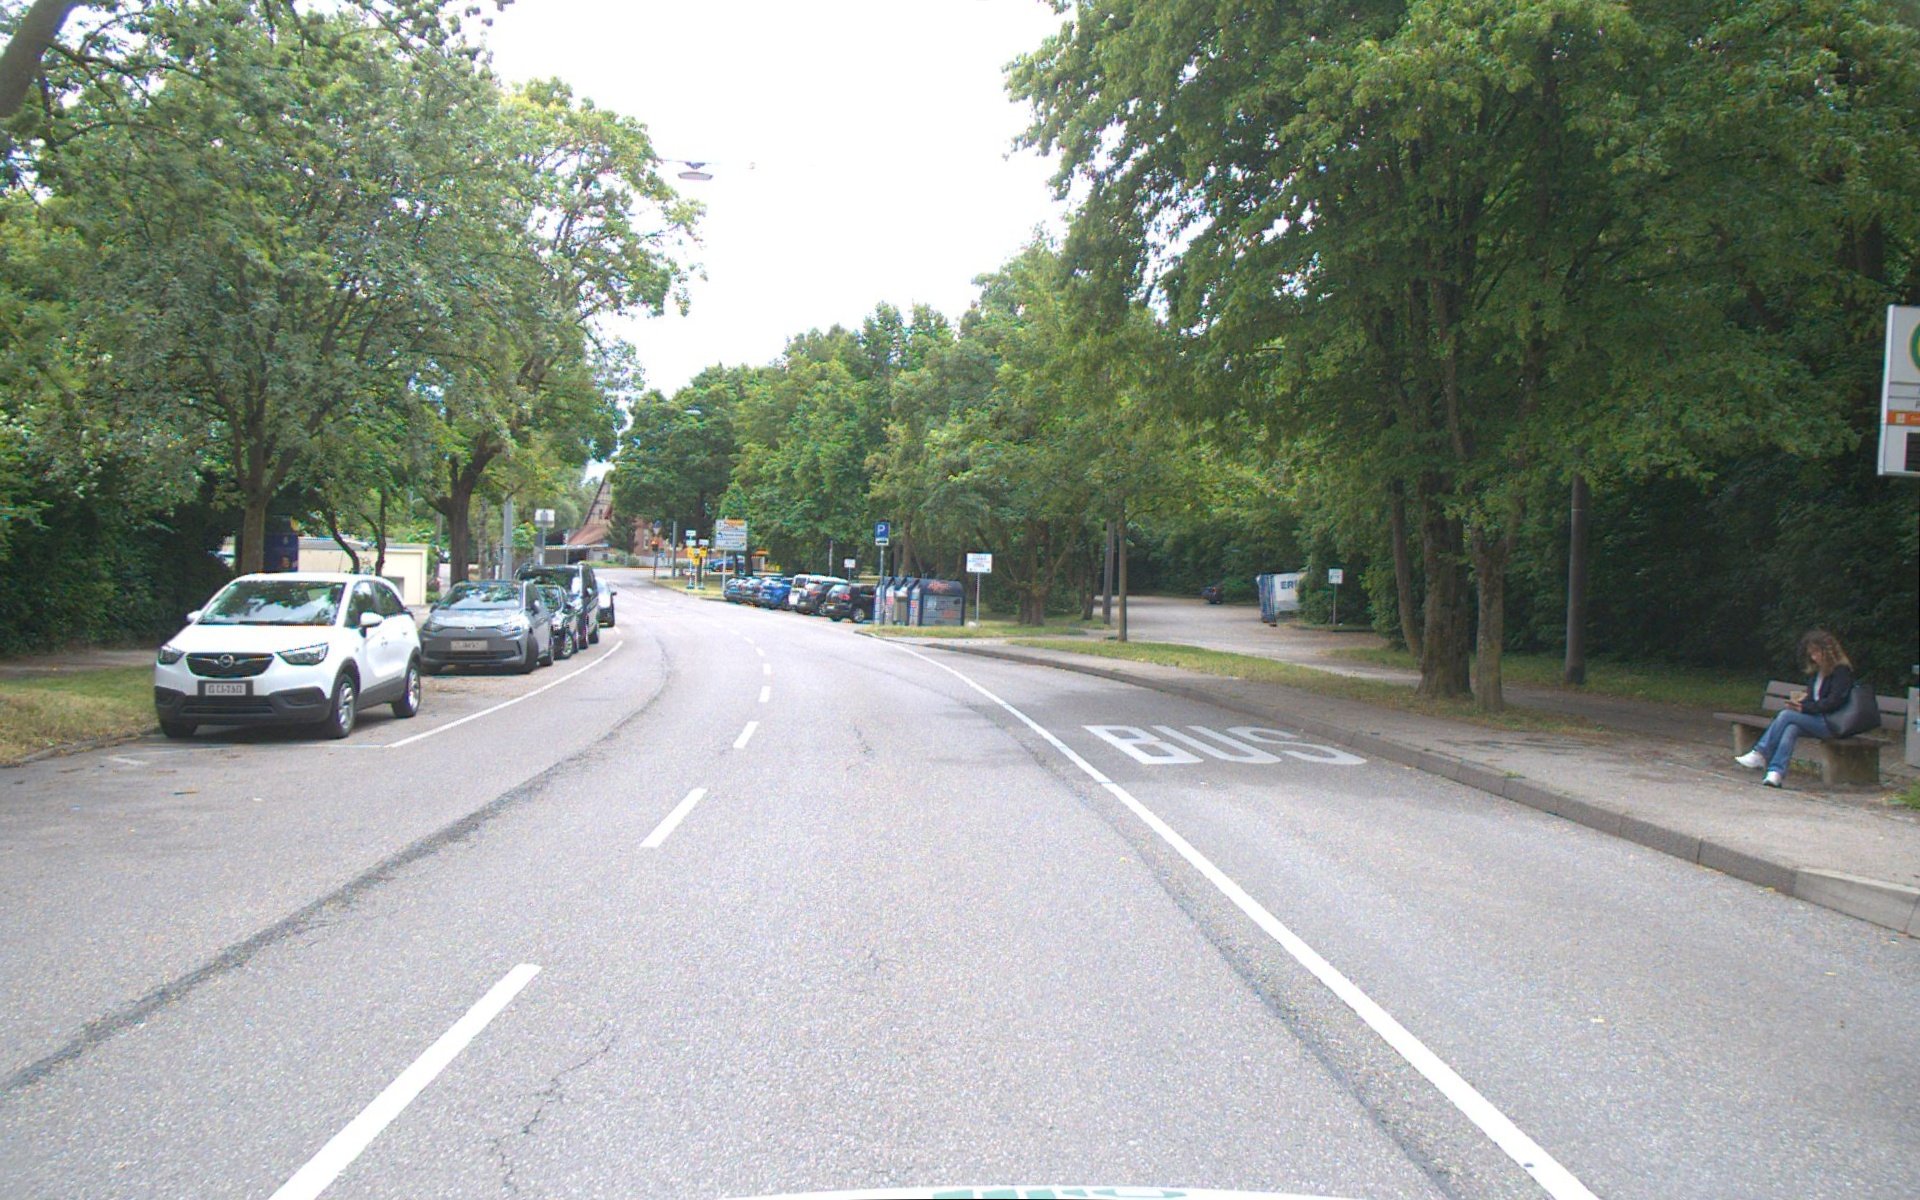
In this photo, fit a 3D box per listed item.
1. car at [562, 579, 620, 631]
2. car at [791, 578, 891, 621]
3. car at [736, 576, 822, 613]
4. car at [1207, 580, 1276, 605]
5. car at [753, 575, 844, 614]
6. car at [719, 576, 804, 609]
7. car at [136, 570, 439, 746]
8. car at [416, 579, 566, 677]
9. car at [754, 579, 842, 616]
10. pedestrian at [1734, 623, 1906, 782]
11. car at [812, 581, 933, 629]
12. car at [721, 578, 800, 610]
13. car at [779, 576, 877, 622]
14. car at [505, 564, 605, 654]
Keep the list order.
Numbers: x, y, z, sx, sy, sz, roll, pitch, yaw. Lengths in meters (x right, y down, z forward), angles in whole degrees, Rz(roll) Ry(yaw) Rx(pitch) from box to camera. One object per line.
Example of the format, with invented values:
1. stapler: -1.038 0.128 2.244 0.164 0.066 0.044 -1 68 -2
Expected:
1. car: -12.283 0.140 55.009 1.774 1.590 4.253 -2 1 -13
2. car: -5.003 -0.028 69.442 3.786 1.493 1.726 4 0 -35
3. car: -8.908 -0.272 81.355 3.786 1.555 1.726 4 -1 -35
4. car: 17.578 -0.468 103.321 3.913 1.434 1.796 1 0 -9
5. car: -7.486 -0.250 76.636 3.786 1.555 1.726 4 -1 -35
6. car: -10.094 -0.381 84.282 3.840 1.451 1.808 4 -1 -35
7. car: -6.818 0.514 17.247 1.701 1.606 4.138 0 0 -4
8. car: -8.045 0.435 28.716 1.830 1.565 4.221 1 0 -7
9. car: -7.798 -0.112 79.615 3.786 1.555 1.726 4 -1 -35
10. pedestrian: 6.751 0.797 13.010 1.043 1.203 0.579 1 0 -7
11. car: -3.242 0.174 61.518 3.952 1.438 2.034 4 1 -35
12. car: -10.743 -0.320 89.069 3.786 1.450 1.726 4 -1 -35
13. car: -5.760 -0.050 72.319 3.786 1.750 1.856 4 -1 -35
14. car: -9.414 0.172 38.759 1.823 1.942 5.073 1 0 -9
